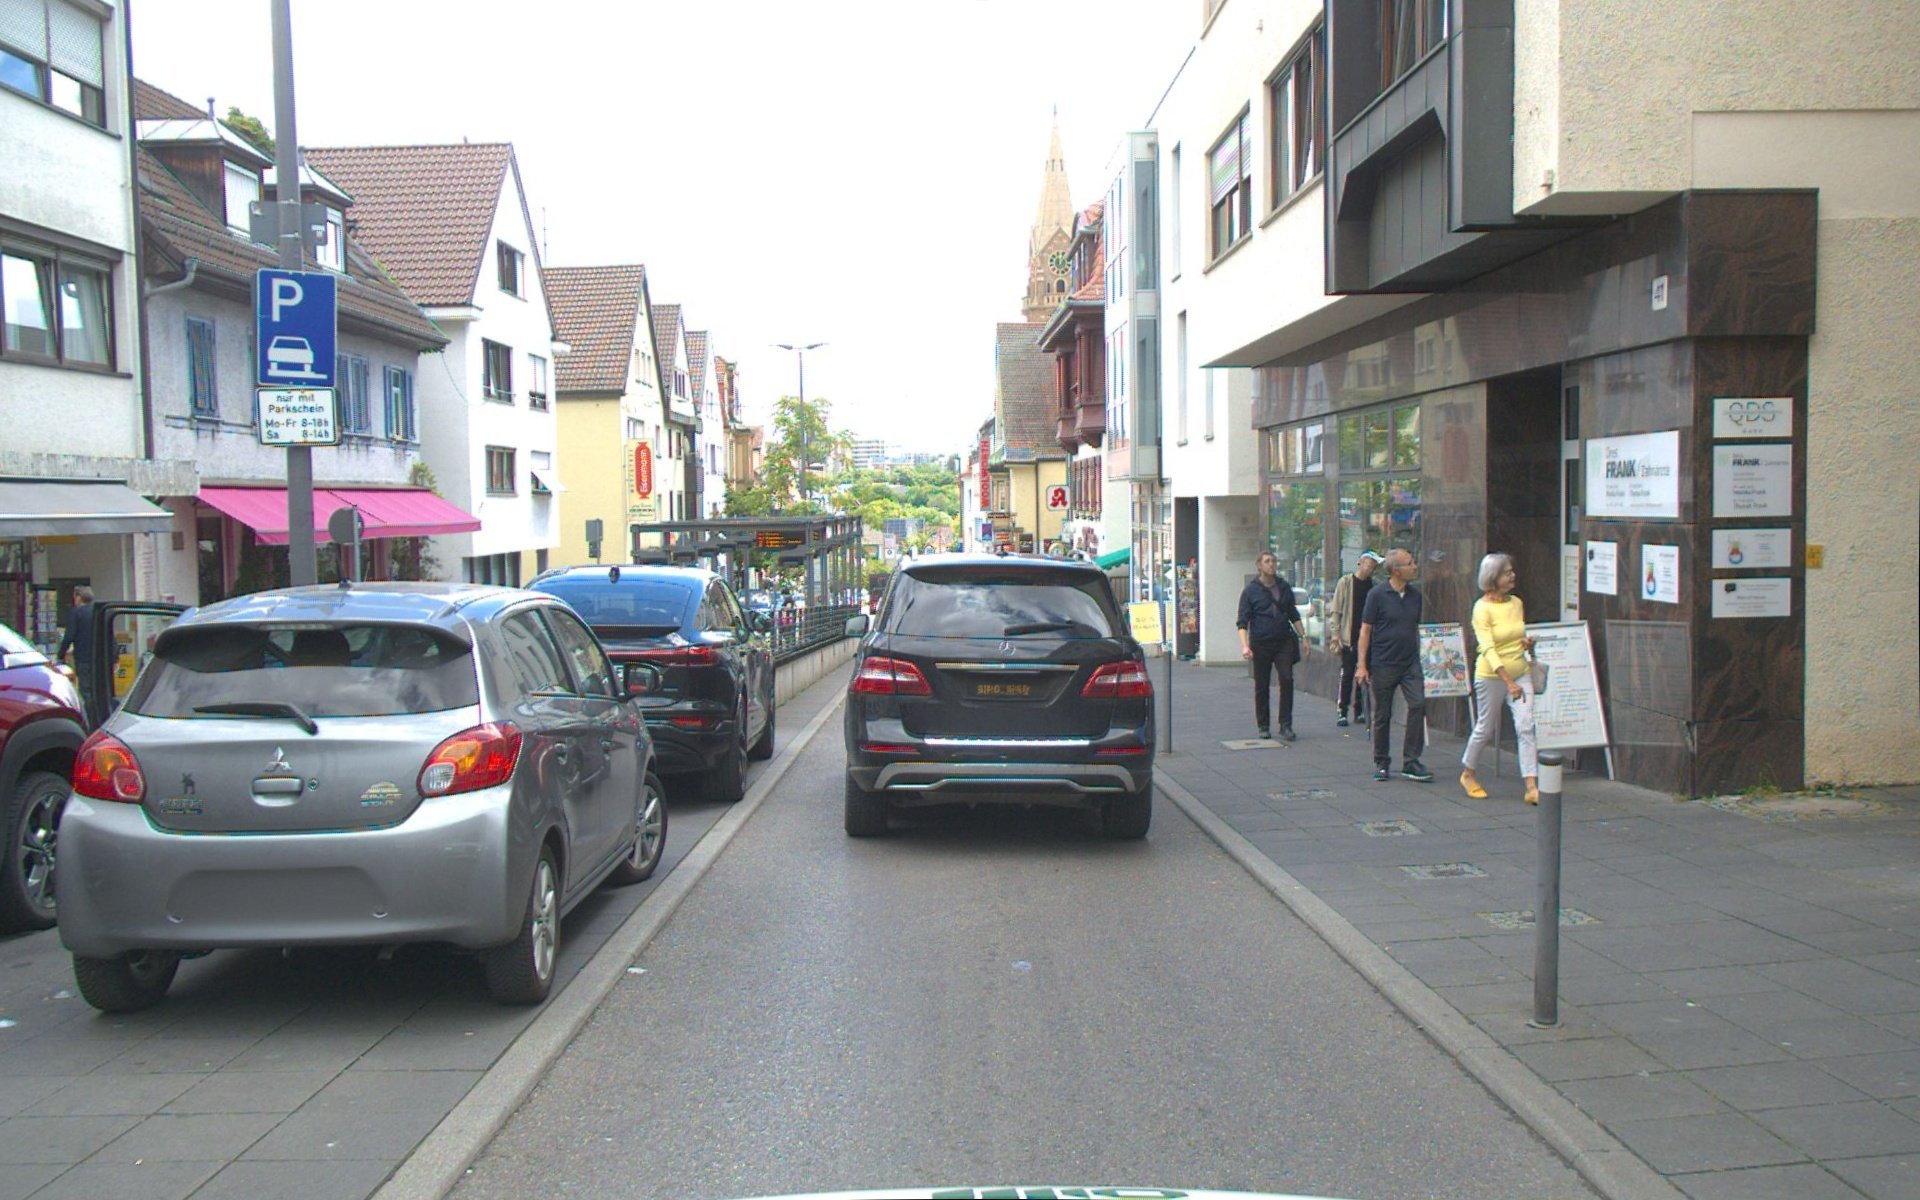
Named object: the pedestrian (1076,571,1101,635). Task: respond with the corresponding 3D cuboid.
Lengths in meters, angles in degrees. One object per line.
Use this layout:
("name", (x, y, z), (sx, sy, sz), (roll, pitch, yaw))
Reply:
("pedestrian", (3.467, 0.077, 44.511), (0.562, 1.718, 0.565), (0, 0, -7))

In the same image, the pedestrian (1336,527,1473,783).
("pedestrian", (3.254, 0.387, 12.162), (0.697, 1.783, 0.785), (-3, 1, -1))

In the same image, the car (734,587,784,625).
("car", (-8.316, 0.213, 68.698), (1.655, 1.516, 3.978), (0, 0, -1))

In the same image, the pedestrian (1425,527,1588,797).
("pedestrian", (3.550, 0.384, 10.812), (0.697, 1.659, 0.835), (-3, 1, -1))

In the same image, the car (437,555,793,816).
("car", (-2.420, 0.527, 12.735), (1.917, 1.668, 4.313), (0, 0, -1))

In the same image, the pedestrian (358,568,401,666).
("pedestrian", (-10.325, 0.291, 29.427), (0.566, 1.718, 0.576), (0, 0, -2))

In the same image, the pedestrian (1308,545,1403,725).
("pedestrian", (3.956, 0.342, 16.559), (0.650, 1.718, 0.542), (-5, 1, -7))

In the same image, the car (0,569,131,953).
("car", (-4.748, 0.665, 5.738), (1.704, 1.570, 4.192), (0, 0, -1))

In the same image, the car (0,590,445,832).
("car", (-5.260, 0.683, 12.311), (1.704, 1.501, 3.883), (0, 0, -1))

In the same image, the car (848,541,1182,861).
("car", (0.217, 0.546, 11.214), (1.862, 1.777, 3.998), (0, 0, -3))

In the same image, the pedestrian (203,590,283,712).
("pedestrian", (-9.408, 0.653, 21.734), (0.651, 1.566, 0.946), (-1, 0, -3))

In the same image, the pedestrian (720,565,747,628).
("pedestrian", (-6.221, -0.091, 45.514), (0.598, 1.718, 0.563), (0, 0, 7))

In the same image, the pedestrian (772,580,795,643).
("pedestrian", (-4.828, 0.303, 45.310), (0.613, 1.718, 0.678), (0, 0, -6))

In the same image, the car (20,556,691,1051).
("car", (-2.208, 0.626, 7.074), (1.587, 1.559, 3.669), (0, 0, -1))

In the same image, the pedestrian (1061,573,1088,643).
("pedestrian", (2.918, 0.207, 42.171), (0.532, 1.756, 0.527), (-2, 0, -7))

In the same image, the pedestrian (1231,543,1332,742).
("pedestrian", (3.014, 0.385, 15.582), (0.697, 1.783, 0.787), (-3, 1, -1))

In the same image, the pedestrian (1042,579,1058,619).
("pedestrian", (3.928, -0.054, 71.965), (0.594, 1.718, 0.724), (-2, 0, -2))

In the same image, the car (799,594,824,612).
("car", (-9.745, 0.189, 108.511), (1.360, 1.089, 3.112), (-2, 1, -1))

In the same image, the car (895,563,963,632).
("car", (-0.834, -0.072, 44.111), (1.734, 1.743, 3.999), (0, 0, -2))

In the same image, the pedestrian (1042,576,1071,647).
("pedestrian", (2.379, 0.277, 40.777), (0.609, 1.718, 0.565), (0, 0, -7))

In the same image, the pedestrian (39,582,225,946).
("pedestrian", (-3.485, 0.667, 6.993), (0.457, 1.456, 0.492), (-3, 0, -1))

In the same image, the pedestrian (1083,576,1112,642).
("pedestrian", (3.619, 0.231, 43.594), (0.562, 1.718, 0.565), (-3, 1, -7))
